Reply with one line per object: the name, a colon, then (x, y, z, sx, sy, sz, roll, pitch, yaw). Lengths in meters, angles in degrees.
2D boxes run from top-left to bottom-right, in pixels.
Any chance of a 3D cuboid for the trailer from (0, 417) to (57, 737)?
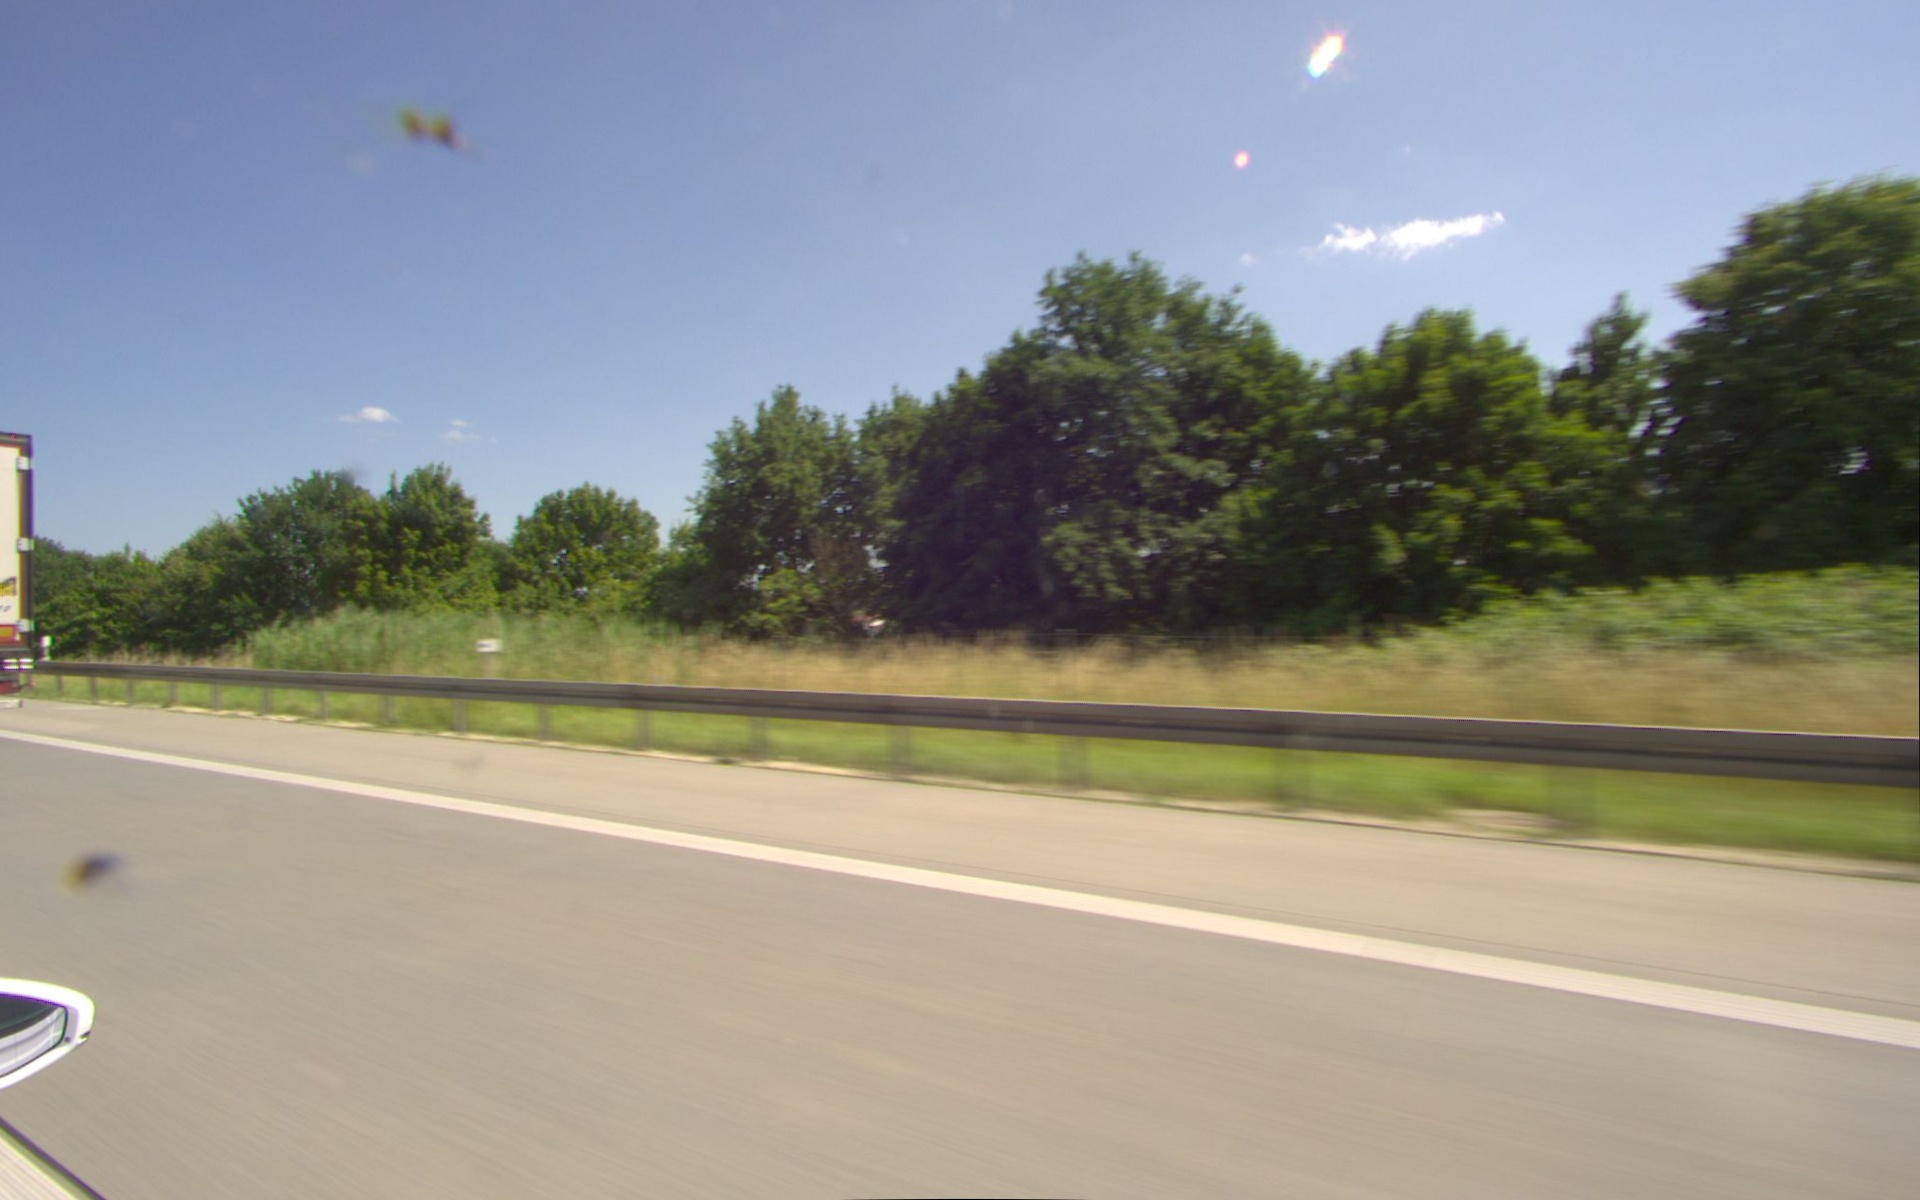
trailer: (-18.015, -0.217, 15.449, 12.532, 4.094, 2.847, -1, -2, 33)
